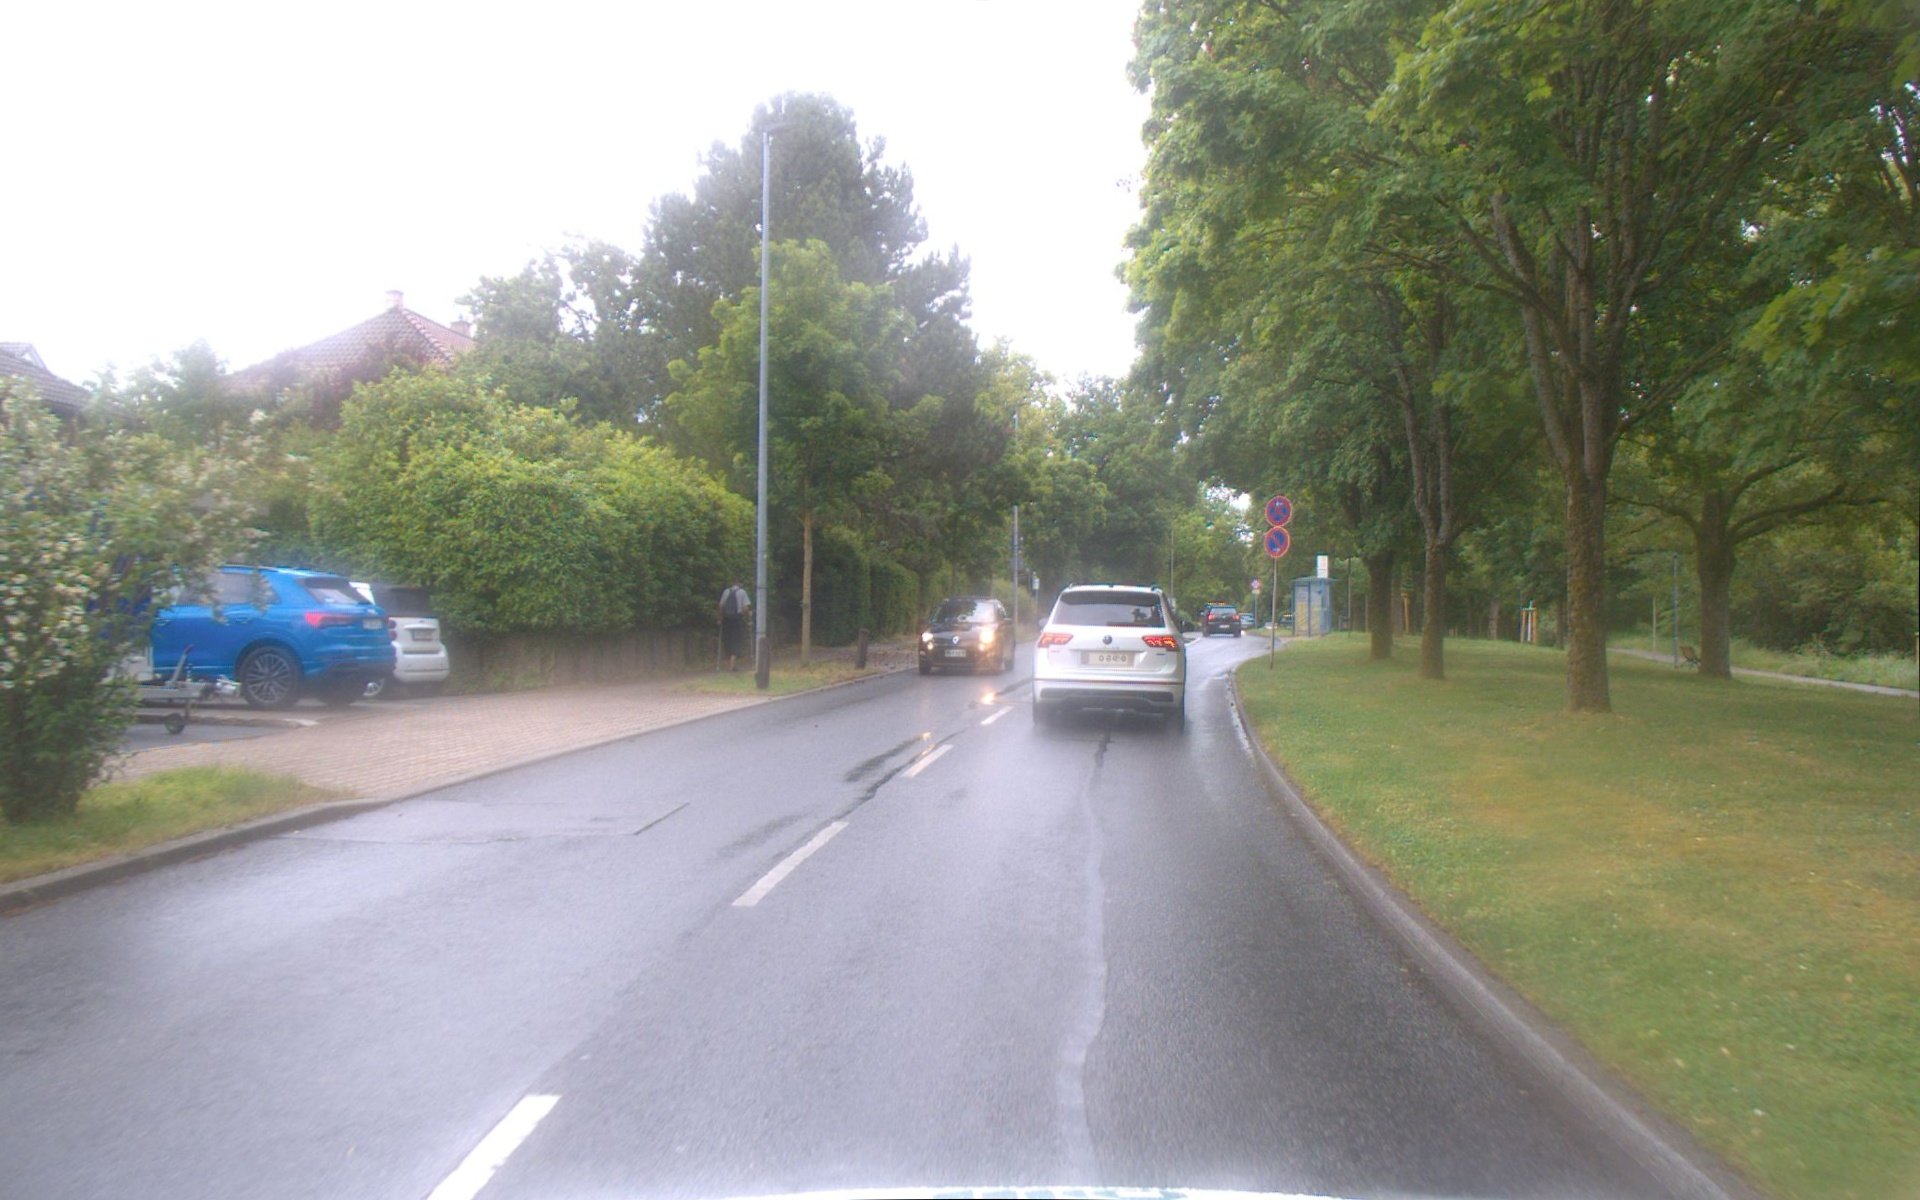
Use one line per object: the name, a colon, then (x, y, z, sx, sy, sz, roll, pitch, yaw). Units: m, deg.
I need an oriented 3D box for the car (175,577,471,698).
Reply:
car: (-8.630, 0.486, 22.580, 3.331, 1.545, 1.732, 0, 0, 5)

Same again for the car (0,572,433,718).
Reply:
car: (-8.588, 0.491, 19.325, 4.148, 1.566, 2.053, 1, 0, 5)

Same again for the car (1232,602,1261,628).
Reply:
car: (21.659, 1.157, 125.139, 1.951, 1.836, 4.002, 2, -1, 7)

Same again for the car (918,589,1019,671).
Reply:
car: (0.227, 0.555, 33.230, 1.549, 1.503, 3.899, -1, 0, 7)

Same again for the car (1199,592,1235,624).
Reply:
car: (15.622, 0.526, 100.695, 1.951, 1.790, 4.002, 2, -1, 7)

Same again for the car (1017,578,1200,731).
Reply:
car: (1.946, 0.602, 20.520, 1.932, 1.682, 4.180, 0, 0, 10)

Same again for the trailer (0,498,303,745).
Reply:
trailer: (-8.973, 0.177, 15.964, 4.522, 2.209, 1.816, 0, 0, 5)

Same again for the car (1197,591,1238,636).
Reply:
car: (12.367, 0.658, 79.584, 1.860, 2.049, 3.947, 2, -1, 8)

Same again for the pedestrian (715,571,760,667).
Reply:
pedestrian: (-4.000, 0.339, 29.767, 0.762, 1.691, 0.842, 0, 0, -6)
